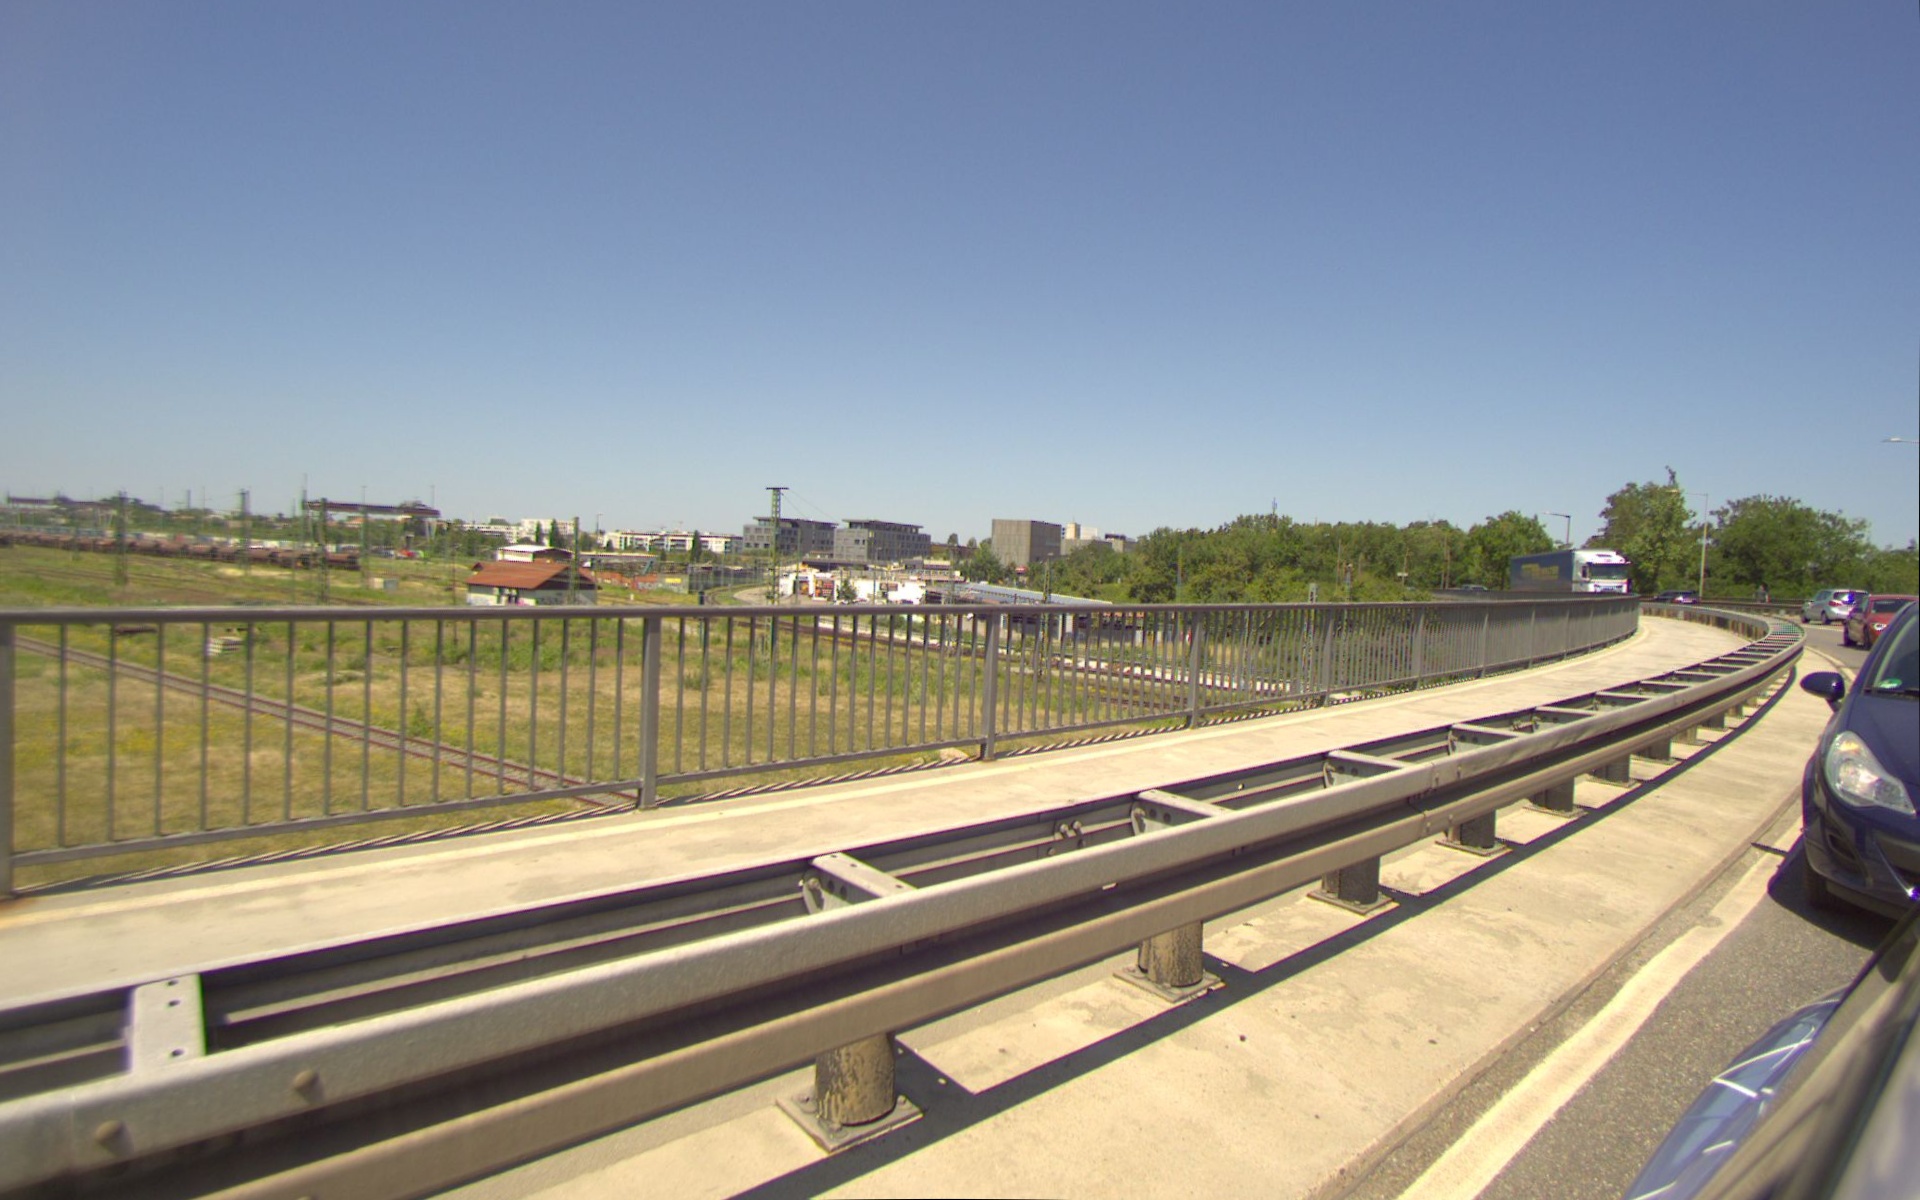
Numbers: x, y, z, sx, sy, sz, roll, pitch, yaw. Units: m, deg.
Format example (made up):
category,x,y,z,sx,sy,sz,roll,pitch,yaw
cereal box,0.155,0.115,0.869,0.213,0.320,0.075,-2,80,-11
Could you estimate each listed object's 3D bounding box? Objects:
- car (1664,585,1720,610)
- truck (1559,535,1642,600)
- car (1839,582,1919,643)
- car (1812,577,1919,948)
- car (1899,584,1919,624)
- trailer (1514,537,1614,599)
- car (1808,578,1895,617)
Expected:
category,x,y,z,sx,sy,sz,roll,pitch,yaw
car,46.614,-0.178,64.535,1.756,1.456,4.362,1,2,21
truck,44.285,-2.207,70.225,2.656,4.281,6.814,-1,1,13
car,24.605,0.281,26.379,1.781,1.473,4.473,1,1,31
car,5.495,0.627,5.013,1.641,1.457,3.936,1,1,45
car,34.483,0.180,35.201,1.687,1.393,3.960,2,2,29
trailer,45.856,-2.391,77.373,2.661,4.287,12.668,0,1,12
car,39.108,-0.136,44.510,1.724,1.599,4.141,1,2,25
